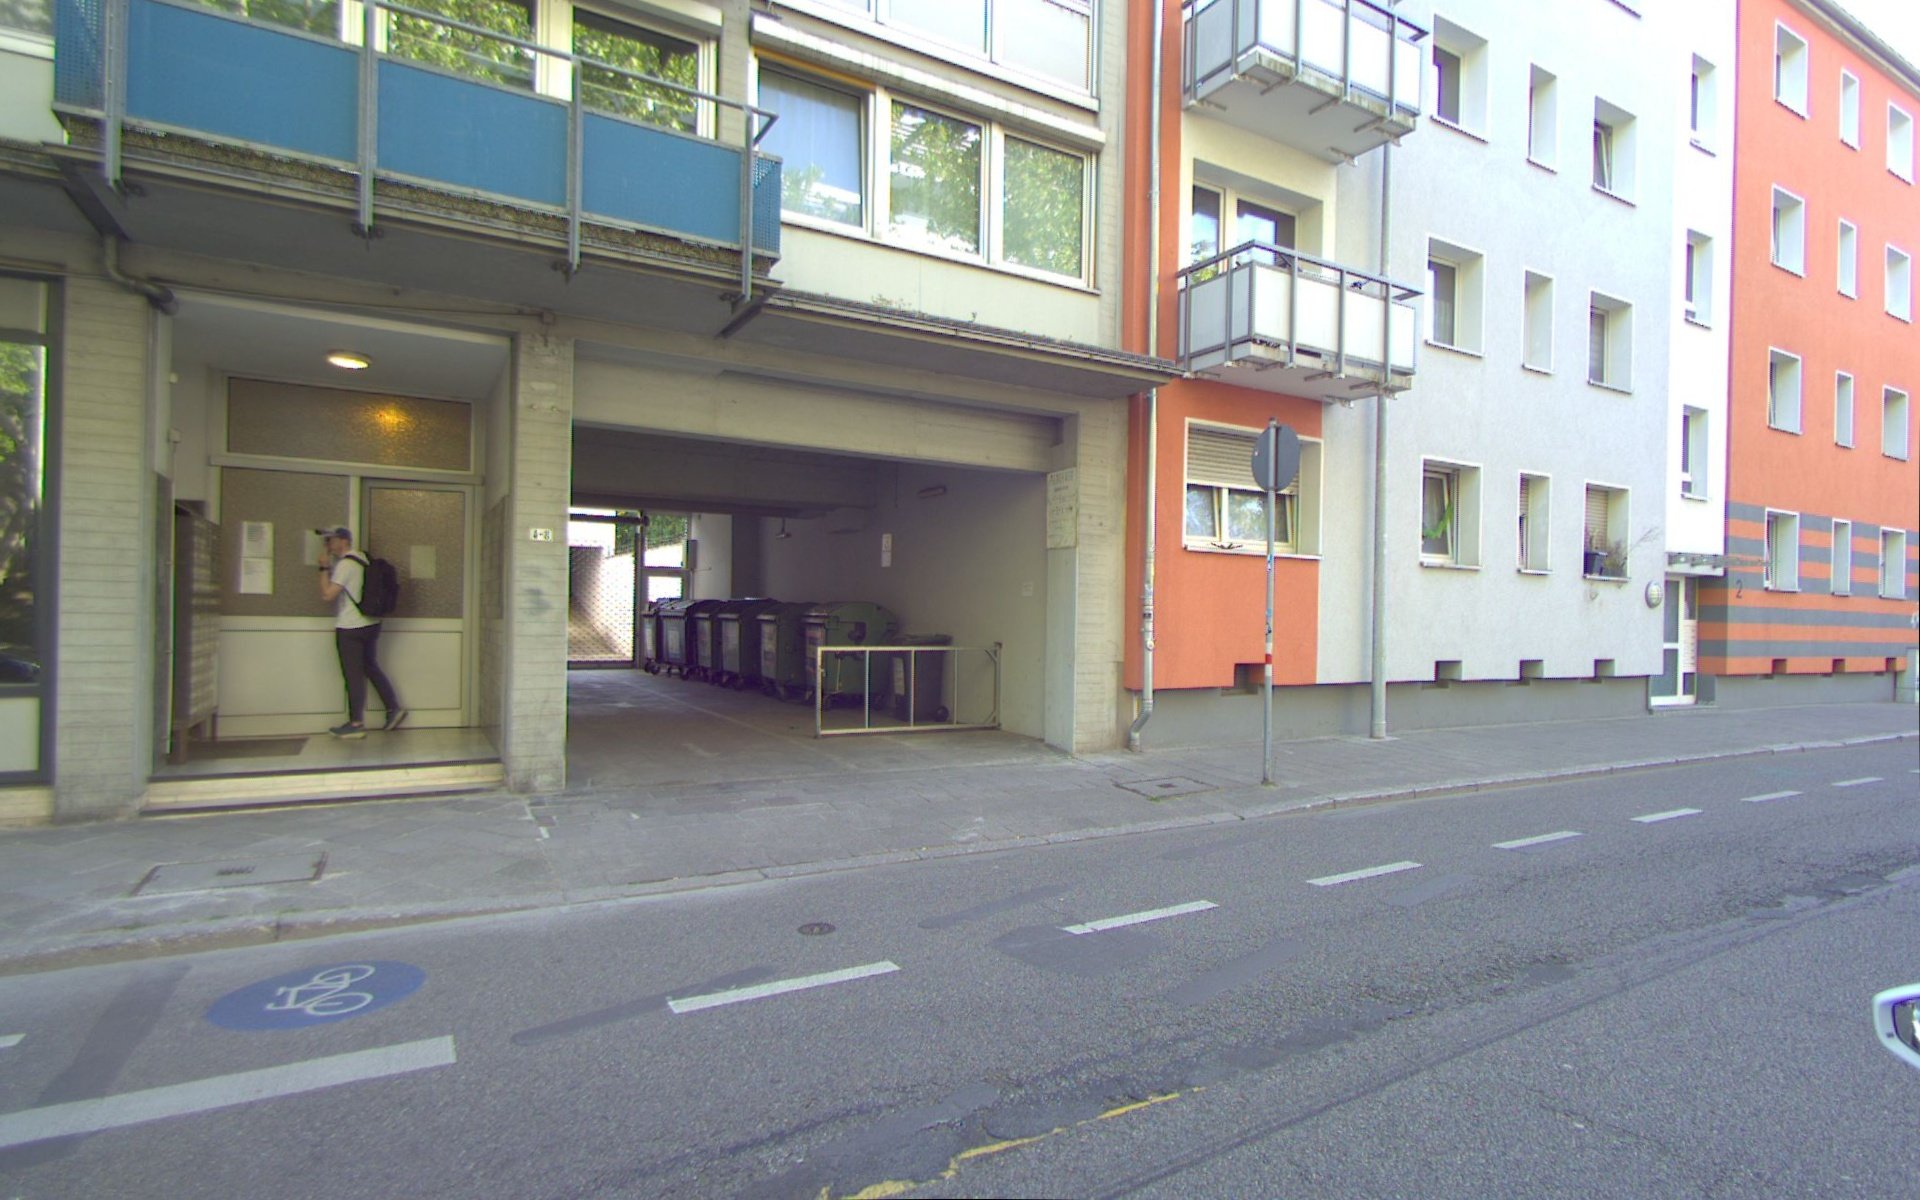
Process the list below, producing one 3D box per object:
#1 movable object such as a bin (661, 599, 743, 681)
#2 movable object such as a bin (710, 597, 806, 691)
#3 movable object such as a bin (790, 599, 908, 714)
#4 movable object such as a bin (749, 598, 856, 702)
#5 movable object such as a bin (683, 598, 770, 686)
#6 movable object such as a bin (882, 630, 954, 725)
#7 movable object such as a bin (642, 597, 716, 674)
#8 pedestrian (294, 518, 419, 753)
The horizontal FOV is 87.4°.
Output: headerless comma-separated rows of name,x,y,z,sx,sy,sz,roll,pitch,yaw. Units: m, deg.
movable object such as a bin,-4.825,0.731,18.757,1.186,1.467,1.222,2,0,-30
movable object such as a bin,-3.355,0.708,16.624,1.186,1.467,1.319,2,0,-30
movable object such as a bin,-1.548,0.748,13.806,1.159,1.467,1.319,2,0,-30
movable object such as a bin,-2.388,0.729,15.140,1.186,1.467,1.319,2,0,-30
movable object such as a bin,-4.125,0.729,17.715,1.186,1.467,1.114,2,0,-30
movable object such as a bin,-0.520,0.948,12.414,0.745,1.116,0.463,2,0,-30
movable object such as a bin,-5.600,0.696,19.987,1.186,1.467,1.027,2,0,-30
pedestrian,-5.159,0.292,8.594,0.781,1.904,0.574,2,0,-43
